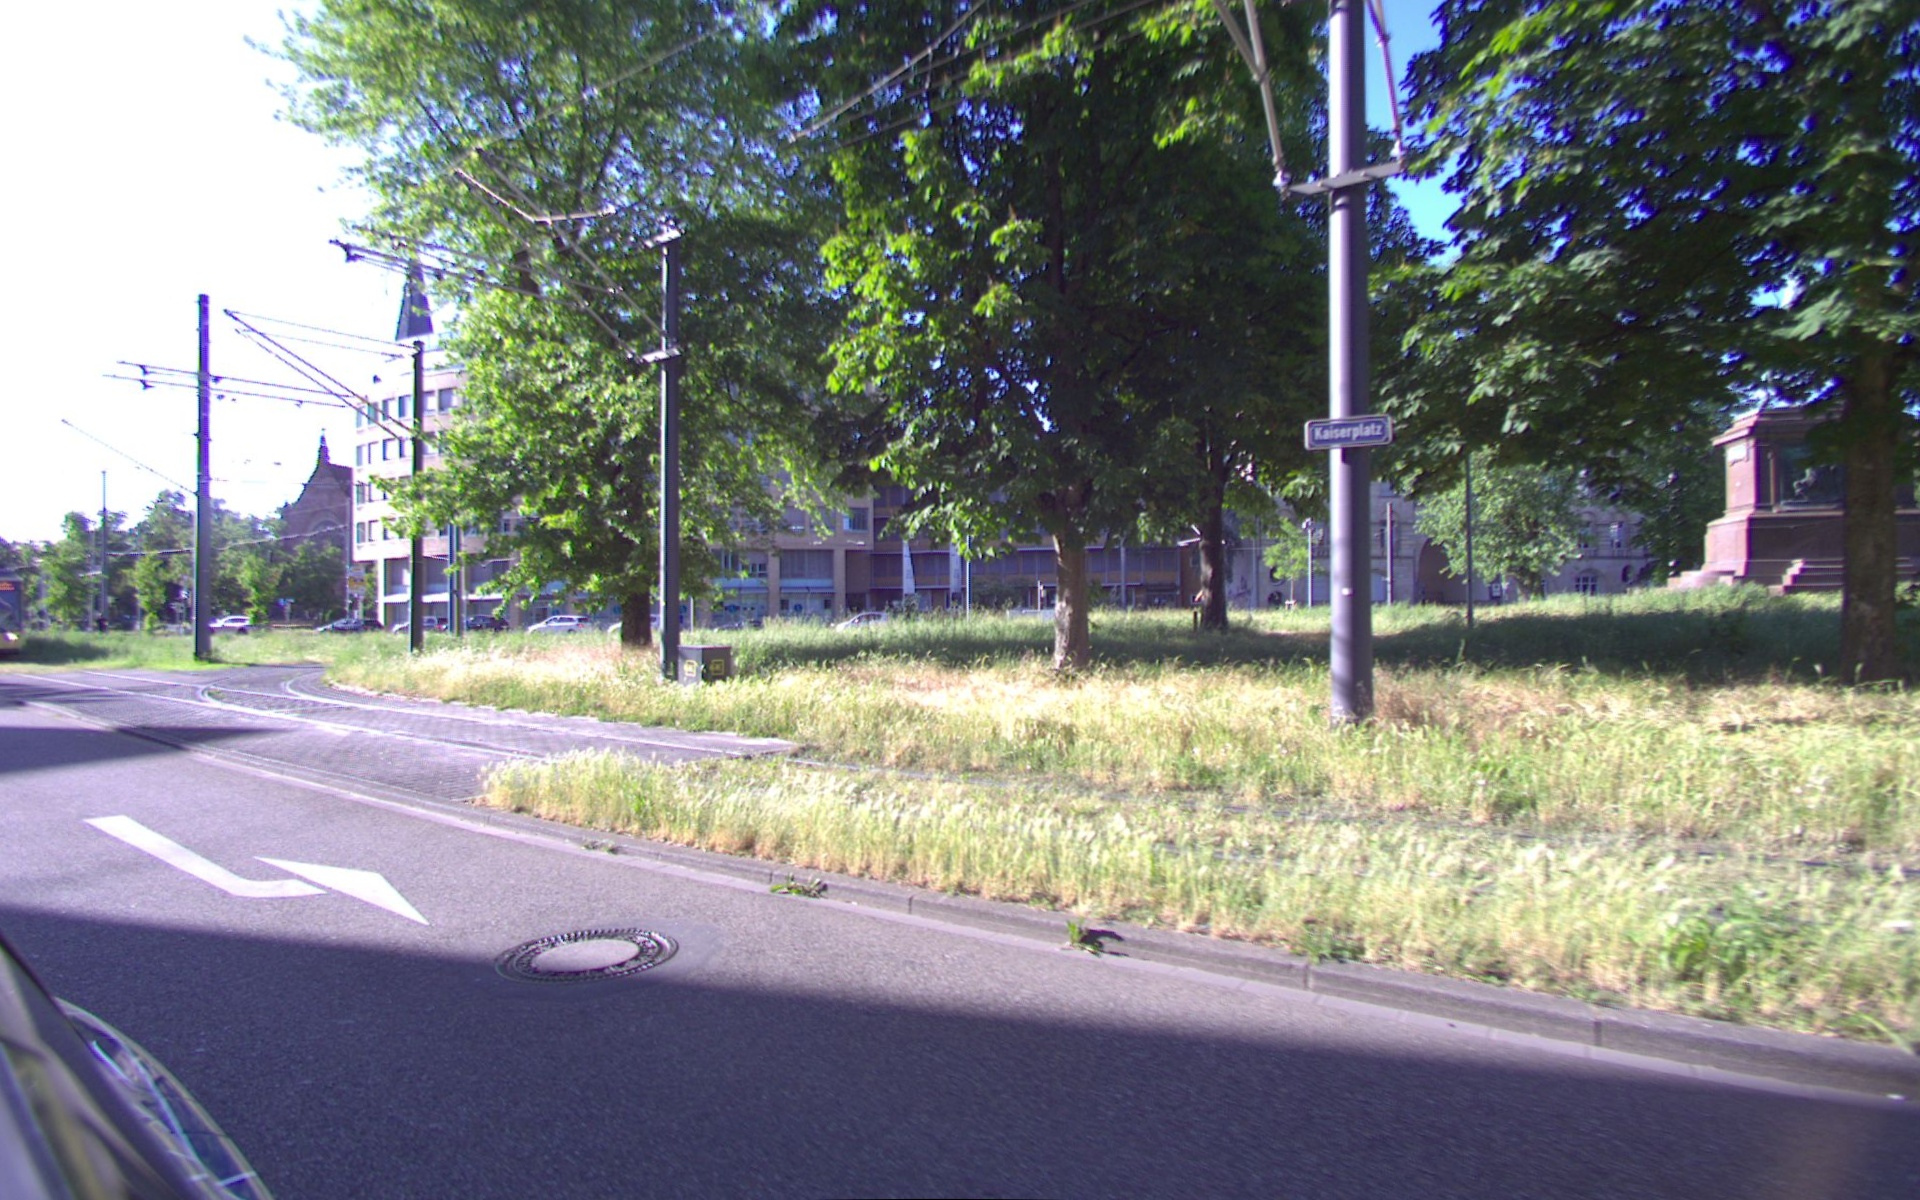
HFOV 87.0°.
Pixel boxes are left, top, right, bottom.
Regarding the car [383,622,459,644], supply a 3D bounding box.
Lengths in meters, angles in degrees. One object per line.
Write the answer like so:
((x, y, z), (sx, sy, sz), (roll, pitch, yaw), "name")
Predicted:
((-42.406, 2.585, 79.627), (5.160, 1.680, 2.115), (0, 1, 14), "car")

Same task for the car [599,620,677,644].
((-21.093, 2.068, 66.298), (4.460, 1.438, 1.994), (-1, 1, 10), "car")

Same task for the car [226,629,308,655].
((-50.021, 3.004, 73.069), (5.034, 1.747, 2.098), (-1, -1, 13), "car")

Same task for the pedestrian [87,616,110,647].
((-48.310, 1.771, 56.736), (0.739, 1.683, 0.731), (-1, -1, 22), "pedestrian")

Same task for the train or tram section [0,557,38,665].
((-38.430, 0.509, 38.680), (13.171, 3.713, 2.920), (-2, -1, 40), "train or tram section")

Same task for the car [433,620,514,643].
((-33.313, 2.173, 69.371), (4.976, 1.458, 1.989), (0, 1, 17), "car")

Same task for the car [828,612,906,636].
((-5.920, 1.519, 64.657), (4.707, 1.364, 1.997), (-2, 0, 5), "car")

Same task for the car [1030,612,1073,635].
((7.023, 1.789, 77.929), (1.966, 1.593, 4.012), (-1, 1, -15), "car")

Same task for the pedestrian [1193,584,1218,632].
((8.354, 0.272, 34.469), (0.546, 1.628, 0.677), (-1, 1, -14), "pedestrian")

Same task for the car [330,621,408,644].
((-41.449, 2.250, 71.022), (4.615, 1.528, 1.992), (-1, 1, 13), "car")

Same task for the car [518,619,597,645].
((-26.950, 2.118, 67.791), (4.609, 1.608, 1.992), (-1, 1, 13), "car")

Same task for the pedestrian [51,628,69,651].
((-82.278, 3.615, 92.540), (0.917, 2.029, 0.875), (0, 1, 15), "pedestrian")

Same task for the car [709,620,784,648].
((-13.625, 2.175, 64.734), (4.235, 1.524, 1.994), (2, 0, 10), "car")
